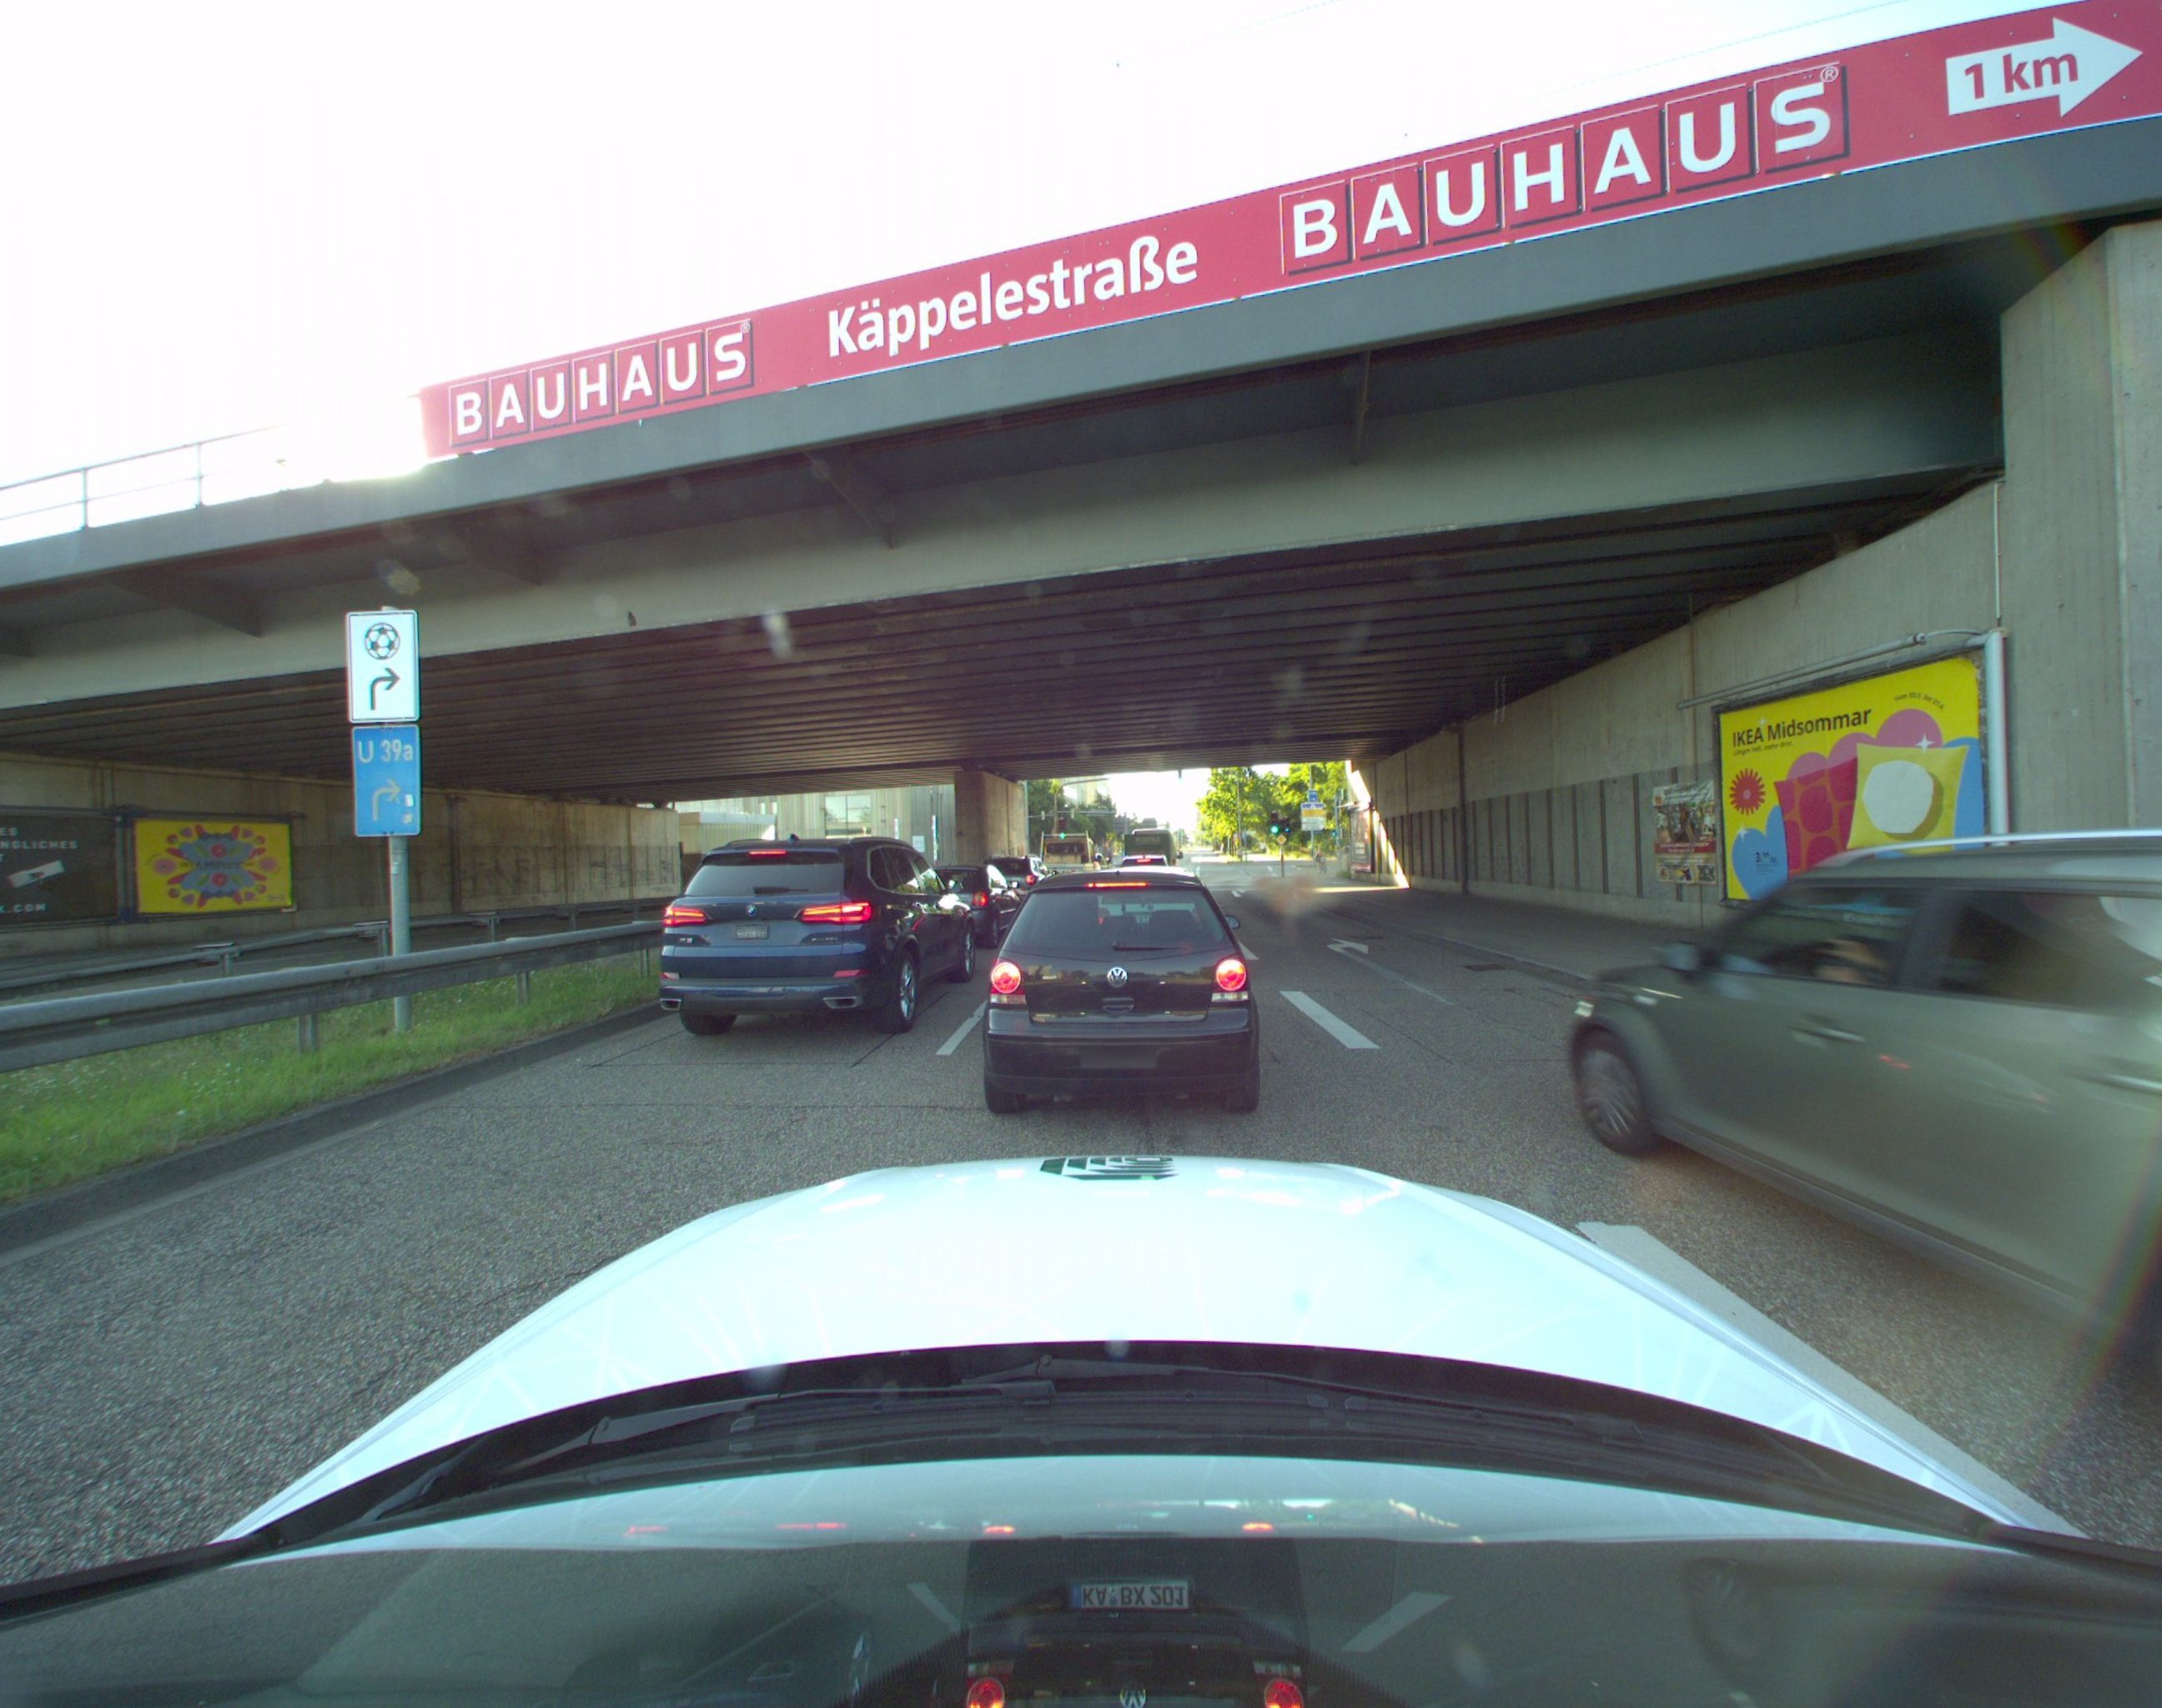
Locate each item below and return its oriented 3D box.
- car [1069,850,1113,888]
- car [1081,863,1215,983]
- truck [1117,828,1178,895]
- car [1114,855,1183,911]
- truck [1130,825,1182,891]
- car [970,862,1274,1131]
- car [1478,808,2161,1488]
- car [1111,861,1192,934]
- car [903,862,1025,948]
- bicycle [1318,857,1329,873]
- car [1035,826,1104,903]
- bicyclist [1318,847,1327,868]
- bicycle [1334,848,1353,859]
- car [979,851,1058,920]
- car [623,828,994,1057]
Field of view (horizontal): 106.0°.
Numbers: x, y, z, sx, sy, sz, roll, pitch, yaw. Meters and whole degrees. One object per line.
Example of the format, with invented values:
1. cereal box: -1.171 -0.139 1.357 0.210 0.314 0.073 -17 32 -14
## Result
1. car: 0.524 0.661 37.846 1.608 1.679 3.691 0 -1 7
2. car: 0.912 0.842 11.713 1.572 1.413 4.065 0 0 3
3. truck: 2.529 0.278 30.138 1.984 2.315 4.009 -1 -1 8
4. car: 2.123 0.835 24.672 1.786 1.559 4.009 -1 -1 8
5. truck: 3.281 0.188 35.162 1.984 2.668 4.009 -1 -1 8
6. car: 0.238 0.772 6.176 1.611 1.409 3.683 0 -1 0
7. car: 3.463 0.710 3.313 1.731 1.630 4.062 0 -1 0
8. car: 1.486 0.875 17.916 1.572 1.413 4.065 0 0 3
9. car: -2.056 0.860 15.267 1.610 1.409 3.685 0 -1 2
10. bicycle: 14.269 0.643 47.930 0.435 0.914 1.029 -3 -1 9
11. car: -0.326 0.383 30.145 2.127 2.576 5.092 0 -1 4
12. bicyclist: 14.263 0.224 48.043 0.425 1.233 0.461 -2 -1 8
13. bicycle: 24.729 -0.027 76.694 1.647 0.991 0.581 -3 2 25
14. car: -1.607 0.796 21.979 1.609 1.679 3.686 0 -1 4
15. car: -2.348 0.694 8.498 1.984 1.734 4.539 0 -1 5
